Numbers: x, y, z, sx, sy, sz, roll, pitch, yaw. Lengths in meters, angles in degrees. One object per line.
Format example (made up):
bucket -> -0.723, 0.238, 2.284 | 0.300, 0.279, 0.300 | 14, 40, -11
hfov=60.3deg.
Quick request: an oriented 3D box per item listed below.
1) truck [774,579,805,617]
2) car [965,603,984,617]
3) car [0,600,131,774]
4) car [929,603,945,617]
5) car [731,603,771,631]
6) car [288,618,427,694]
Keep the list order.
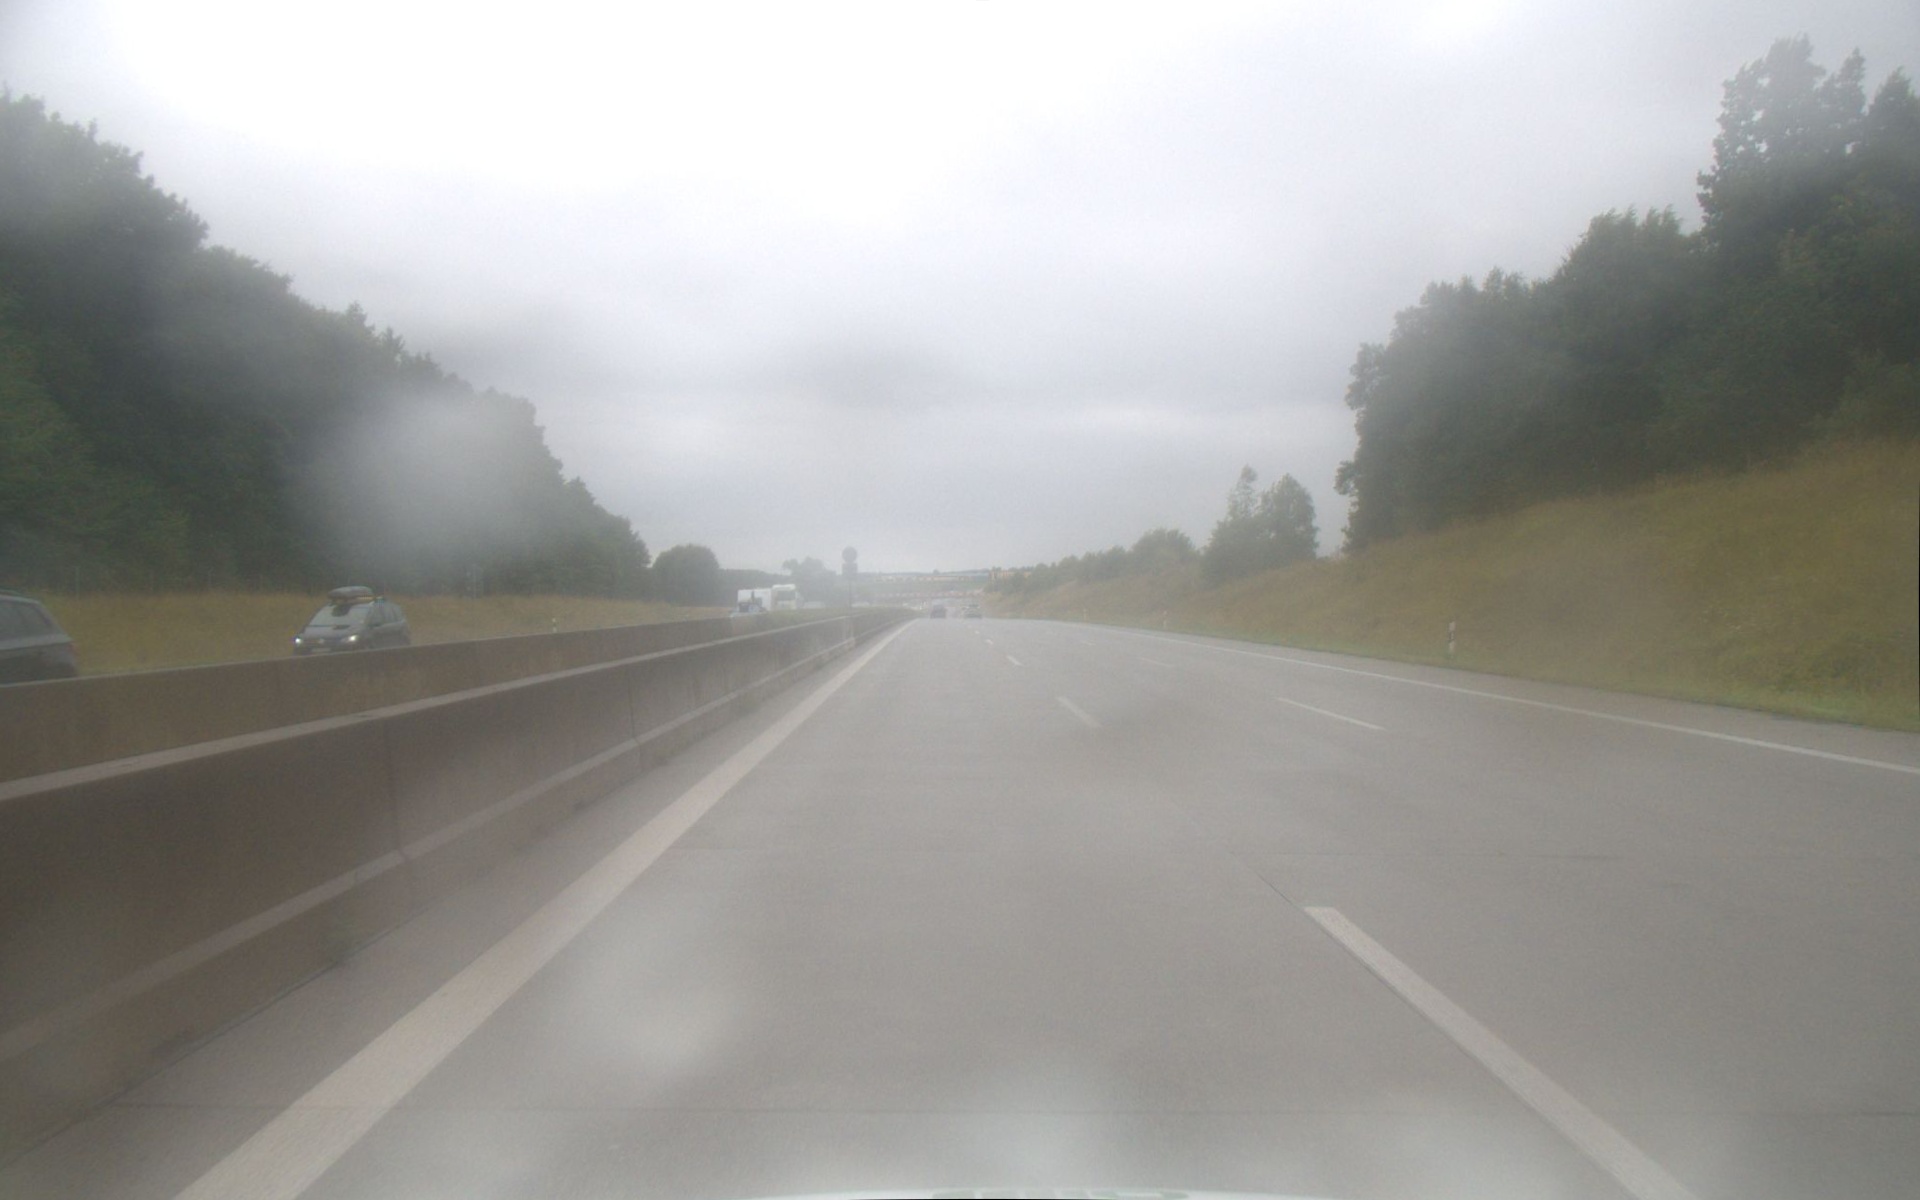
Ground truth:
truck -> -17.909, -0.258, 174.191 | 2.610, 3.942, 6.435 | -1, 1, -1
car -> 1.524, 1.014, 175.493 | 1.810, 1.354, 4.429 | 0, 1, -1
car -> -10.031, 0.840, 15.636 | 1.928, 1.638, 4.852 | -1, 0, 0
car -> -2.447, 1.041, 174.481 | 1.694, 1.354, 4.429 | 0, 1, -1
car -> -13.323, 1.096, 105.638 | 1.953, 1.673, 5.407 | -2, -1, -2
car -> -15.933, 1.439, 44.031 | 2.018, 1.833, 4.850 | -1, 0, -2
